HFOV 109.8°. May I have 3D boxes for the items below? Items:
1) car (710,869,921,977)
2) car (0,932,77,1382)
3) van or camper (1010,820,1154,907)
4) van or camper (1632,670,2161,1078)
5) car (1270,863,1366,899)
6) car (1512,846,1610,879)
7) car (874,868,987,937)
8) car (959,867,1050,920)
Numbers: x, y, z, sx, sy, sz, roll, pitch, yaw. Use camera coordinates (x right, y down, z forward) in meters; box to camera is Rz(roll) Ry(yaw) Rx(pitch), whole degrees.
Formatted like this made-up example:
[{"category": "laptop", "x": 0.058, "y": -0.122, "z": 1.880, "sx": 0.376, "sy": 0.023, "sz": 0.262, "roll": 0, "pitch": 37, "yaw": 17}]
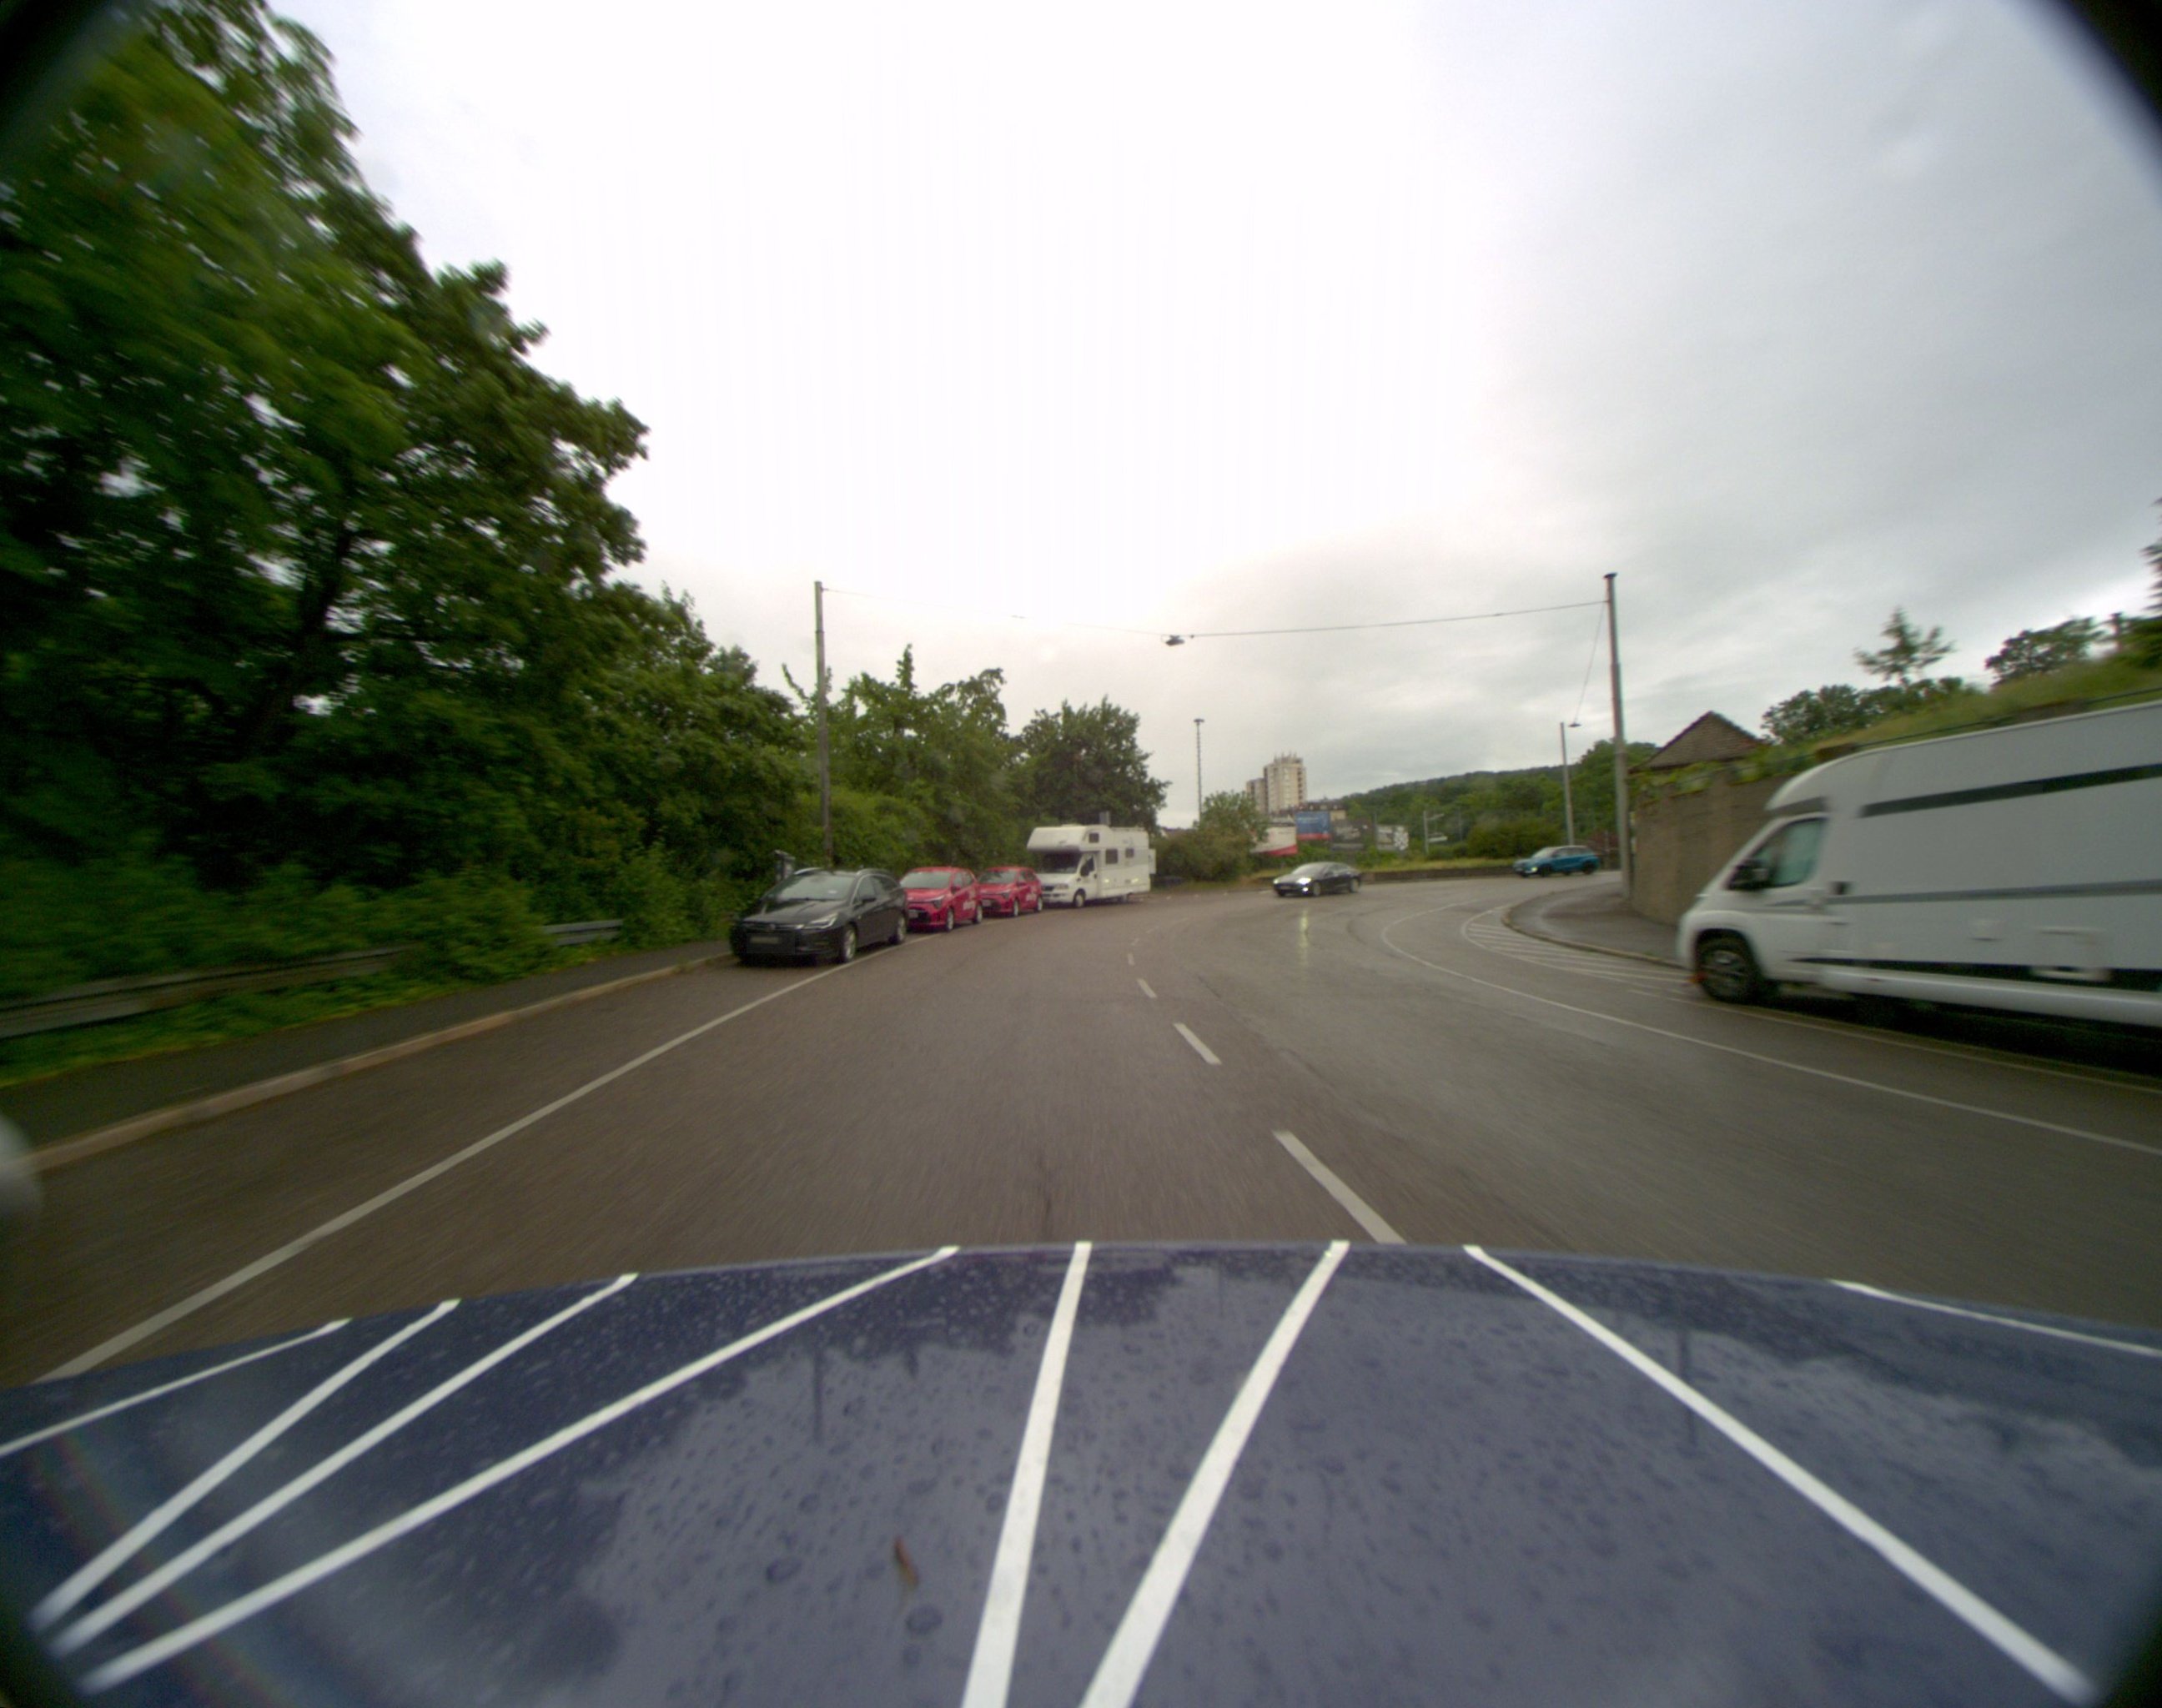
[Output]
[{"category": "car", "x": -4.311, "y": 1.040, "z": 13.223, "sx": 1.722, "sy": 1.504, "sz": 4.597, "roll": 0, "pitch": -1, "yaw": 5}, {"category": "car", "x": -4.242, "y": 1.062, "z": 0.830, "sx": 1.590, "sy": 1.493, "sz": 3.664, "roll": -3, "pitch": 0, "yaw": -7}, {"category": "van or camper", "x": 0.231, "y": 0.327, "z": 28.795, "sx": 2.391, "sy": 2.927, "sz": 6.294, "roll": 0, "pitch": 0, "yaw": 33}, {"category": "van or camper", "x": 8.346, "y": 0.163, "z": 6.132, "sx": 2.162, "sy": 2.771, "sz": 7.048, "roll": 0, "pitch": -1, "yaw": -6}, {"category": "car", "x": 10.564, "y": 1.157, "z": 33.763, "sx": 4.332, "sy": 1.384, "sz": 1.832, "roll": -1, "pitch": 1, "yaw": -35}, {"category": "car", "x": 25.582, "y": 0.462, "z": 40.572, "sx": 4.040, "sy": 1.599, "sz": 1.803, "roll": -1, "pitch": -5, "yaw": -4}, {"category": "car", "x": -3.538, "y": 1.093, "z": 18.499, "sx": 1.561, "sy": 1.504, "sz": 3.679, "roll": 0, "pitch": -1, "yaw": 8}, {"category": "car", "x": -2.285, "y": 1.155, "z": 23.611, "sx": 1.643, "sy": 1.452, "sz": 3.810, "roll": 0, "pitch": 0, "yaw": 13}]
